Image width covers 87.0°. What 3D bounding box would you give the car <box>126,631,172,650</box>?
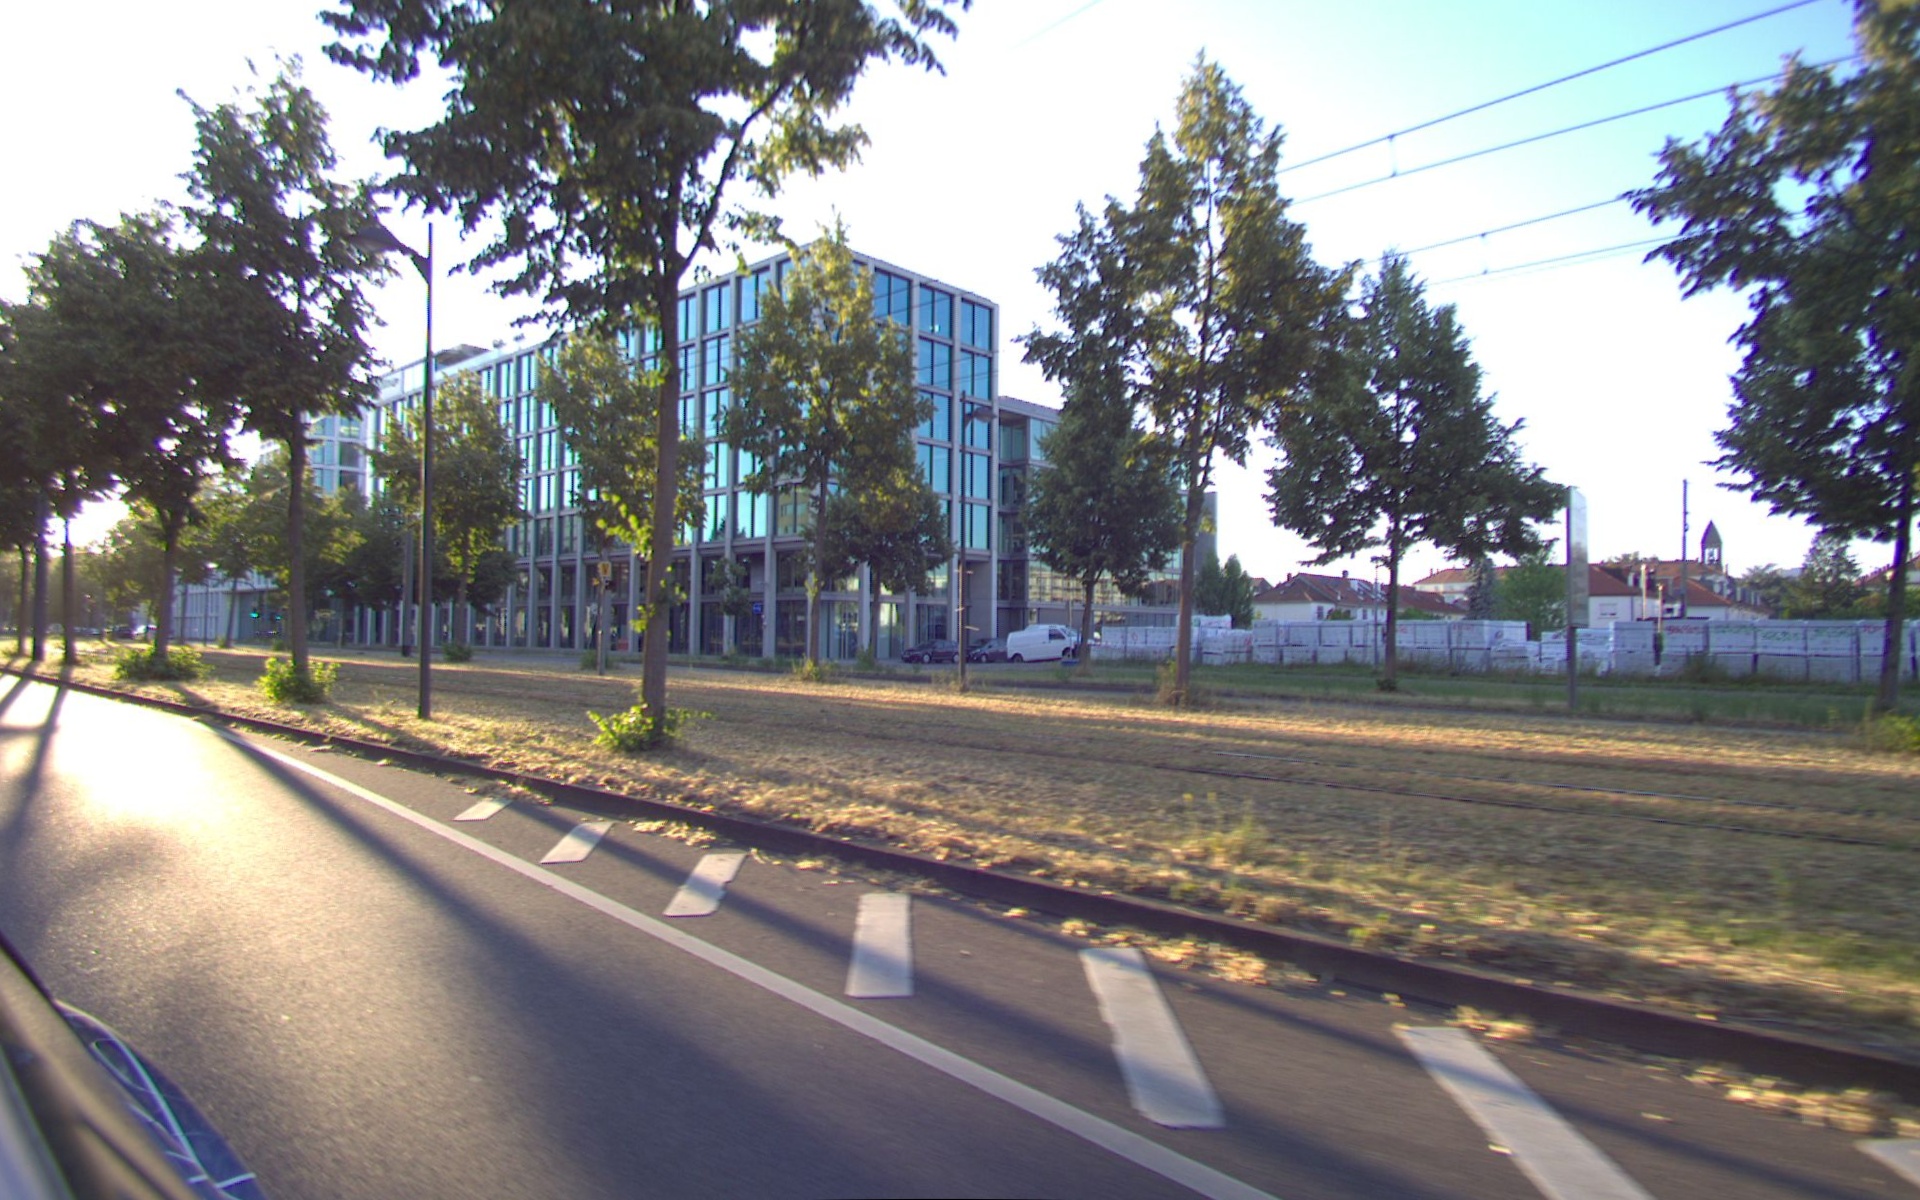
[{"bbox_3d":[-64.393,3.225,80.348,4.625,1.497,1.884,-2,-3,39],"label":"car"}]

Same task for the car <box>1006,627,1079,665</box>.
[{"bbox_3d":[5.642,3.092,68.710,1.973,2.486,5.419,-2,-3,44],"label":"car"}]

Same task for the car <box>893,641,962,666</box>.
[{"bbox_3d":[-1.931,3.212,61.028,1.894,1.457,3.943,-2,-3,43],"label":"car"}]

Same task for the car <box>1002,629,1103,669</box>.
[{"bbox_3d":[4.921,2.592,54.060,5.080,2.029,2.183,-1,-3,41],"label":"car"}]

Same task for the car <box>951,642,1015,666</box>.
[{"bbox_3d":[1.479,3.406,64.500,1.895,1.457,3.942,-2,-3,44],"label":"car"}]
